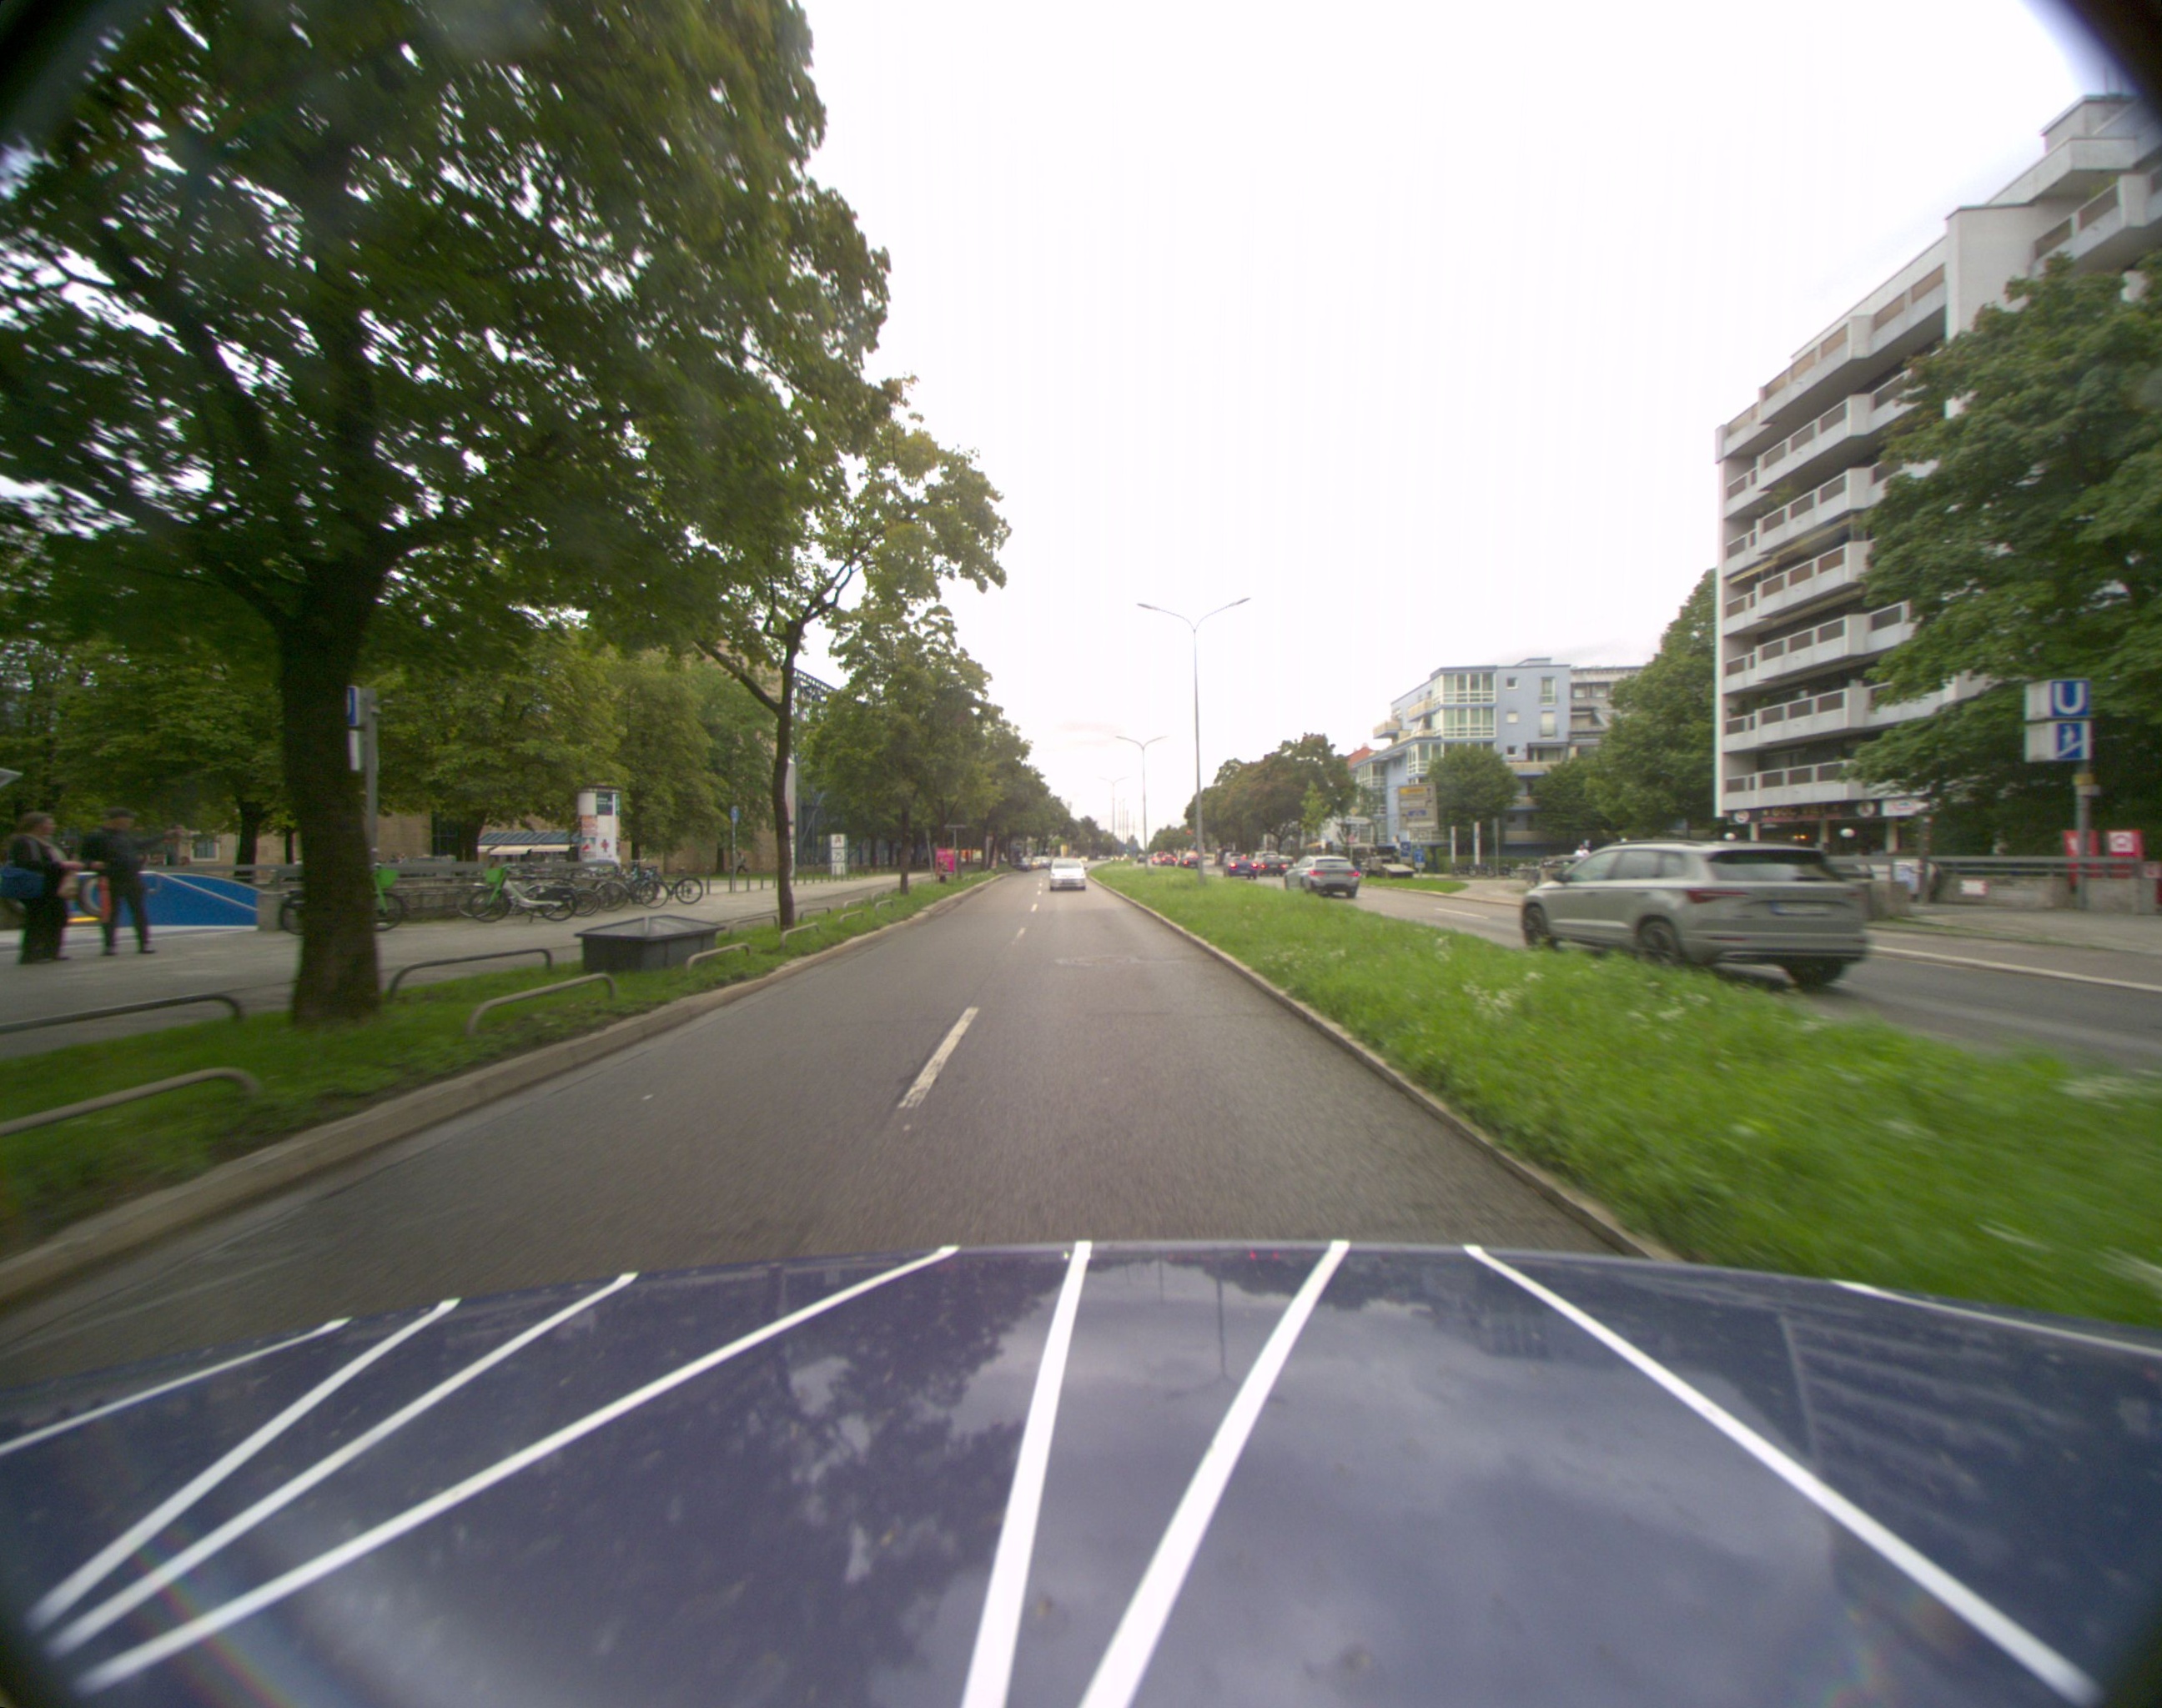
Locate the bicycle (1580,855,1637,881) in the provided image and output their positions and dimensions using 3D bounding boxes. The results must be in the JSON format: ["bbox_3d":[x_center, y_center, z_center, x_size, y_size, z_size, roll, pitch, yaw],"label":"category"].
[{"bbox_3d":[22.611,0.602,32.592,1.951,1.097,0.560,0,1,7],"label":"bicycle"}]

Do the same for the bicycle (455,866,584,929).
[{"bbox_3d":[-11.008,0.855,14.978,1.958,1.182,0.595,3,-1,-30],"label":"bicycle"}]

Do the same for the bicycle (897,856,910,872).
[{"bbox_3d":[-14.143,0.799,60.523,0.622,1.243,1.920,0,0,-3],"label":"bicycle"}]

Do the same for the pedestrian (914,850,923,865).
[{"bbox_3d":[-17.405,0.348,81.449,0.737,1.636,0.646,2,2,35],"label":"pedestrian"}]

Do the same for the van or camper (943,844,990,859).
[{"bbox_3d":[-28.078,-0.586,186.220,10.887,3.533,3.324,0,0,1],"label":"van or camper"}]

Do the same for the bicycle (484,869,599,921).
[{"bbox_3d":[-11.754,0.890,16.594,1.959,1.077,0.595,3,-1,-41],"label":"bicycle"}]

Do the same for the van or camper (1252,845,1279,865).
[{"bbox_3d":[18.432,0.094,76.181,1.809,1.956,5.212,0,0,4],"label":"van or camper"}]

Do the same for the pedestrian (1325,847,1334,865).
[{"bbox_3d":[24.061,0.185,73.581,0.644,1.795,0.779,0,1,-1],"label":"pedestrian"}]

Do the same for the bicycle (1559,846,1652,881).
[{"bbox_3d":[23.332,0.416,33.837,3.333,1.275,0.788,-5,0,8],"label":"bicycle"}]

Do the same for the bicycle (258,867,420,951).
[{"bbox_3d":[-11.724,0.833,12.106,0.531,1.219,1.863,2,-1,8],"label":"bicycle"}]

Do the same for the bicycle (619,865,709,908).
[{"bbox_3d":[-11.384,0.875,20.783,2.036,1.093,0.578,2,2,-41],"label":"bicycle"}]

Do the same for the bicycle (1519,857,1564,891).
[{"bbox_3d":[15.929,0.669,26.331,0.409,1.083,2.085,-5,0,7],"label":"bicycle"}]

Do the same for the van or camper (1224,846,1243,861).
[{"bbox_3d":[20.434,-0.101,102.024,2.025,1.930,4.705,0,0,5],"label":"van or camper"}]

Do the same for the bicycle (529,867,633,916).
[{"bbox_3d":[-11.679,0.875,17.791,1.959,1.059,0.578,2,0,-41],"label":"bicycle"}]

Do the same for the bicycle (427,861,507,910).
[{"bbox_3d":[-17.584,0.858,21.846,0.510,1.287,2.477,0,0,-6],"label":"bicycle"}]

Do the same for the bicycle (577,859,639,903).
[{"bbox_3d":[-13.476,0.755,21.708,0.489,1.182,1.954,0,0,1],"label":"bicycle"}]

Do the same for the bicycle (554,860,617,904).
[{"bbox_3d":[-14.084,0.770,21.665,0.489,1.182,1.954,0,0,1],"label":"bicycle"}]

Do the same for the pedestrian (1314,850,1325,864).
[{"bbox_3d":[26.786,0.303,85.327,0.975,1.593,0.767,0,1,-4],"label":"pedestrian"}]

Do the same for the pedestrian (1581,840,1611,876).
[{"bbox_3d":[24.259,0.187,35.807,0.670,1.698,1.131,0,1,-2],"label":"pedestrian"}]

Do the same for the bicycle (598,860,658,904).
[{"bbox_3d":[-12.893,0.779,21.690,0.489,1.182,1.954,0,0,1],"label":"bicycle"}]

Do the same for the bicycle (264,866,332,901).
[{"bbox_3d":[-30.332,1.130,29.483,0.554,1.253,2.174,0,0,-6],"label":"bicycle"}]

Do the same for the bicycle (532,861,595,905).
[{"bbox_3d":[-14.934,0.815,21.970,0.446,1.182,1.954,0,0,1],"label":"bicycle"}]

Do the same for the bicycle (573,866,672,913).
[{"bbox_3d":[-11.532,0.869,19.150,2.045,1.083,0.603,1,3,-41],"label":"bicycle"}]

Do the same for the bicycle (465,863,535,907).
[{"bbox_3d":[-16.830,0.877,22.058,0.579,1.182,2.140,0,0,-6],"label":"bicycle"}]

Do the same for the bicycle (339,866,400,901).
[{"bbox_3d":[-27.679,1.119,29.607,0.510,1.253,2.174,0,0,-6],"label":"bicycle"}]

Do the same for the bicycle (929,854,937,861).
[{"bbox_3d":[-19.979,0.441,102.355,0.571,0.935,2.064,0,1,2],"label":"bicycle"}]

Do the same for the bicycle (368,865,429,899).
[{"bbox_3d":[-26.336,1.061,29.384,0.608,1.253,2.055,0,0,-4],"label":"bicycle"}]

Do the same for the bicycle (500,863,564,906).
[{"bbox_3d":[-16.176,0.864,22.448,0.513,1.182,2.140,0,0,-6],"label":"bicycle"}]

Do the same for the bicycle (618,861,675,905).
[{"bbox_3d":[-12.371,0.795,21.699,0.489,1.182,1.954,0,0,1],"label":"bicycle"}]

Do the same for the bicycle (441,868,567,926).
[{"bbox_3d":[-11.741,0.886,15.513,1.959,1.101,0.579,4,-2,-41],"label":"bicycle"}]

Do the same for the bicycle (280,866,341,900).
[{"bbox_3d":[-29.716,1.092,29.346,0.510,1.253,1.953,0,0,-6],"label":"bicycle"}]

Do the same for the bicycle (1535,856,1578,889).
[{"bbox_3d":[16.452,0.622,26.337,0.409,1.071,1.955,-5,0,6],"label":"bicycle"}]

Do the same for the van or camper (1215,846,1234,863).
[{"bbox_3d":[21.054,0.090,111.520,2.054,2.472,5.549,0,0,3],"label":"van or camper"}]

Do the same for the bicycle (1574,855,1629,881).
[{"bbox_3d":[22.701,0.603,33.174,1.951,1.097,0.560,0,1,7],"label":"bicycle"}]

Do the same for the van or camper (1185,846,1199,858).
[{"bbox_3d":[19.017,-0.401,130.338,2.020,2.004,5.200,0,0,4],"label":"van or camper"}]

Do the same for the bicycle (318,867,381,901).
[{"bbox_3d":[-28.442,1.138,29.589,0.510,1.253,2.174,0,0,-6],"label":"bicycle"}]

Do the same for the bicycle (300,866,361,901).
[{"bbox_3d":[-28.995,1.130,29.402,0.510,1.253,2.021,0,0,-6],"label":"bicycle"}]

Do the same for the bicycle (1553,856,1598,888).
[{"bbox_3d":[17.125,0.594,26.332,0.409,1.034,1.955,-5,0,6],"label":"bicycle"}]

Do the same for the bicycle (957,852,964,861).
[{"bbox_3d":[-16.465,0.326,104.189,0.512,1.185,2.141,0,1,2],"label":"bicycle"}]
